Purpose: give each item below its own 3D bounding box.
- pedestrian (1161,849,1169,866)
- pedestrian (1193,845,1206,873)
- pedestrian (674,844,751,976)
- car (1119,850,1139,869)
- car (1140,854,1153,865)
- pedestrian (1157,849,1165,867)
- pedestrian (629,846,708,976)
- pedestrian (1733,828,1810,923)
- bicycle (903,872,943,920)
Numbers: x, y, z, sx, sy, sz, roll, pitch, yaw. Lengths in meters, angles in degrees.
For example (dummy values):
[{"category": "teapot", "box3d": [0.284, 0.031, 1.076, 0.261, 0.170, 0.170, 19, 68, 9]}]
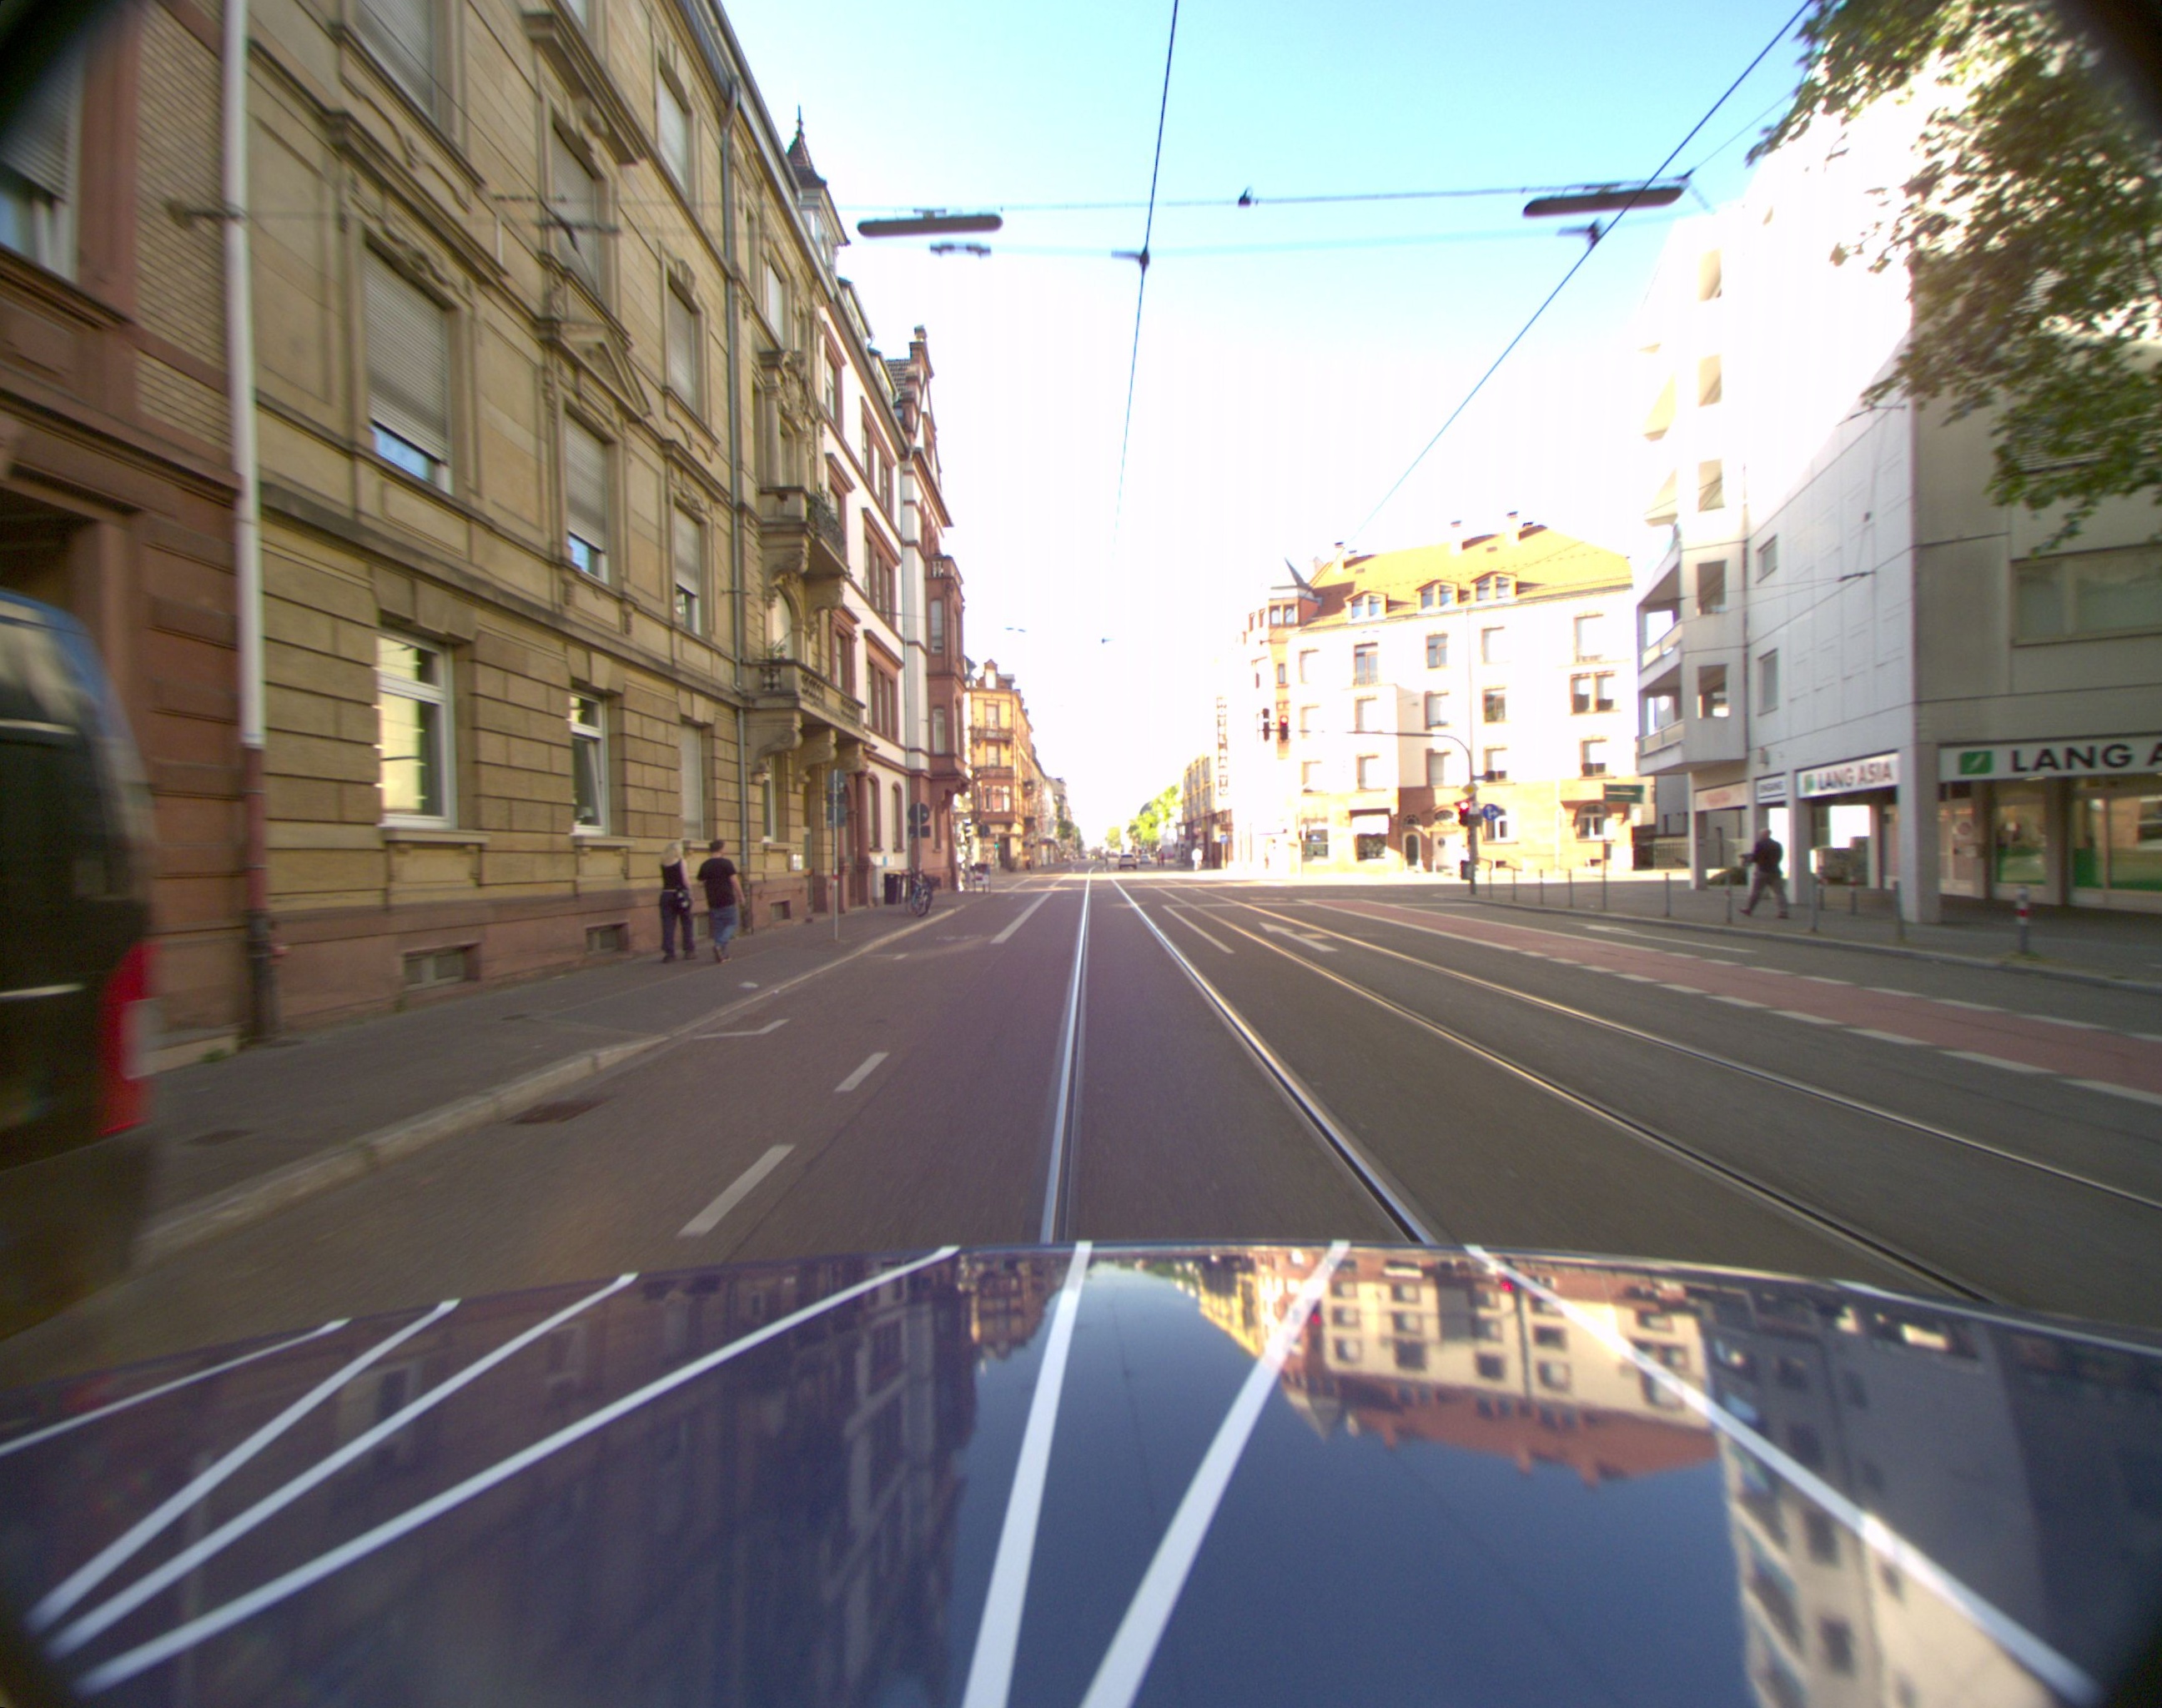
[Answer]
[{"category": "pedestrian", "box3d": [10.152, 0.386, 91.646, 0.756, 2.002, 0.718, -2, 1, 1]}, {"category": "pedestrian", "box3d": [8.662, 0.379, 55.553, 0.756, 2.002, 0.718, -2, 1, 1]}, {"category": "pedestrian", "box3d": [-5.260, 0.772, 10.891, 0.635, 1.813, 0.755, -2, 1, 1]}, {"category": "car", "box3d": [5.142, 0.546, 82.044, 1.998, 2.002, 4.000, -1, 0, 1]}, {"category": "car", "box3d": [10.291, 0.895, 120.254, 1.719, 1.696, 4.000, -1, 0, 1]}, {"category": "pedestrian", "box3d": [9.208, 0.467, 87.635, 0.756, 2.002, 0.718, -2, 1, 1]}, {"category": "pedestrian", "box3d": [-5.964, 0.798, 11.028, 0.635, 1.813, 0.755, -2, 1, 1]}, {"category": "pedestrian", "box3d": [13.877, 0.422, 15.299, 0.795, 1.837, 0.809, -2, 1, 4]}, {"category": "bicycle", "box3d": [-4.117, 1.077, 19.934, 0.647, 1.143, 1.688, -1, 0, 1]}]
